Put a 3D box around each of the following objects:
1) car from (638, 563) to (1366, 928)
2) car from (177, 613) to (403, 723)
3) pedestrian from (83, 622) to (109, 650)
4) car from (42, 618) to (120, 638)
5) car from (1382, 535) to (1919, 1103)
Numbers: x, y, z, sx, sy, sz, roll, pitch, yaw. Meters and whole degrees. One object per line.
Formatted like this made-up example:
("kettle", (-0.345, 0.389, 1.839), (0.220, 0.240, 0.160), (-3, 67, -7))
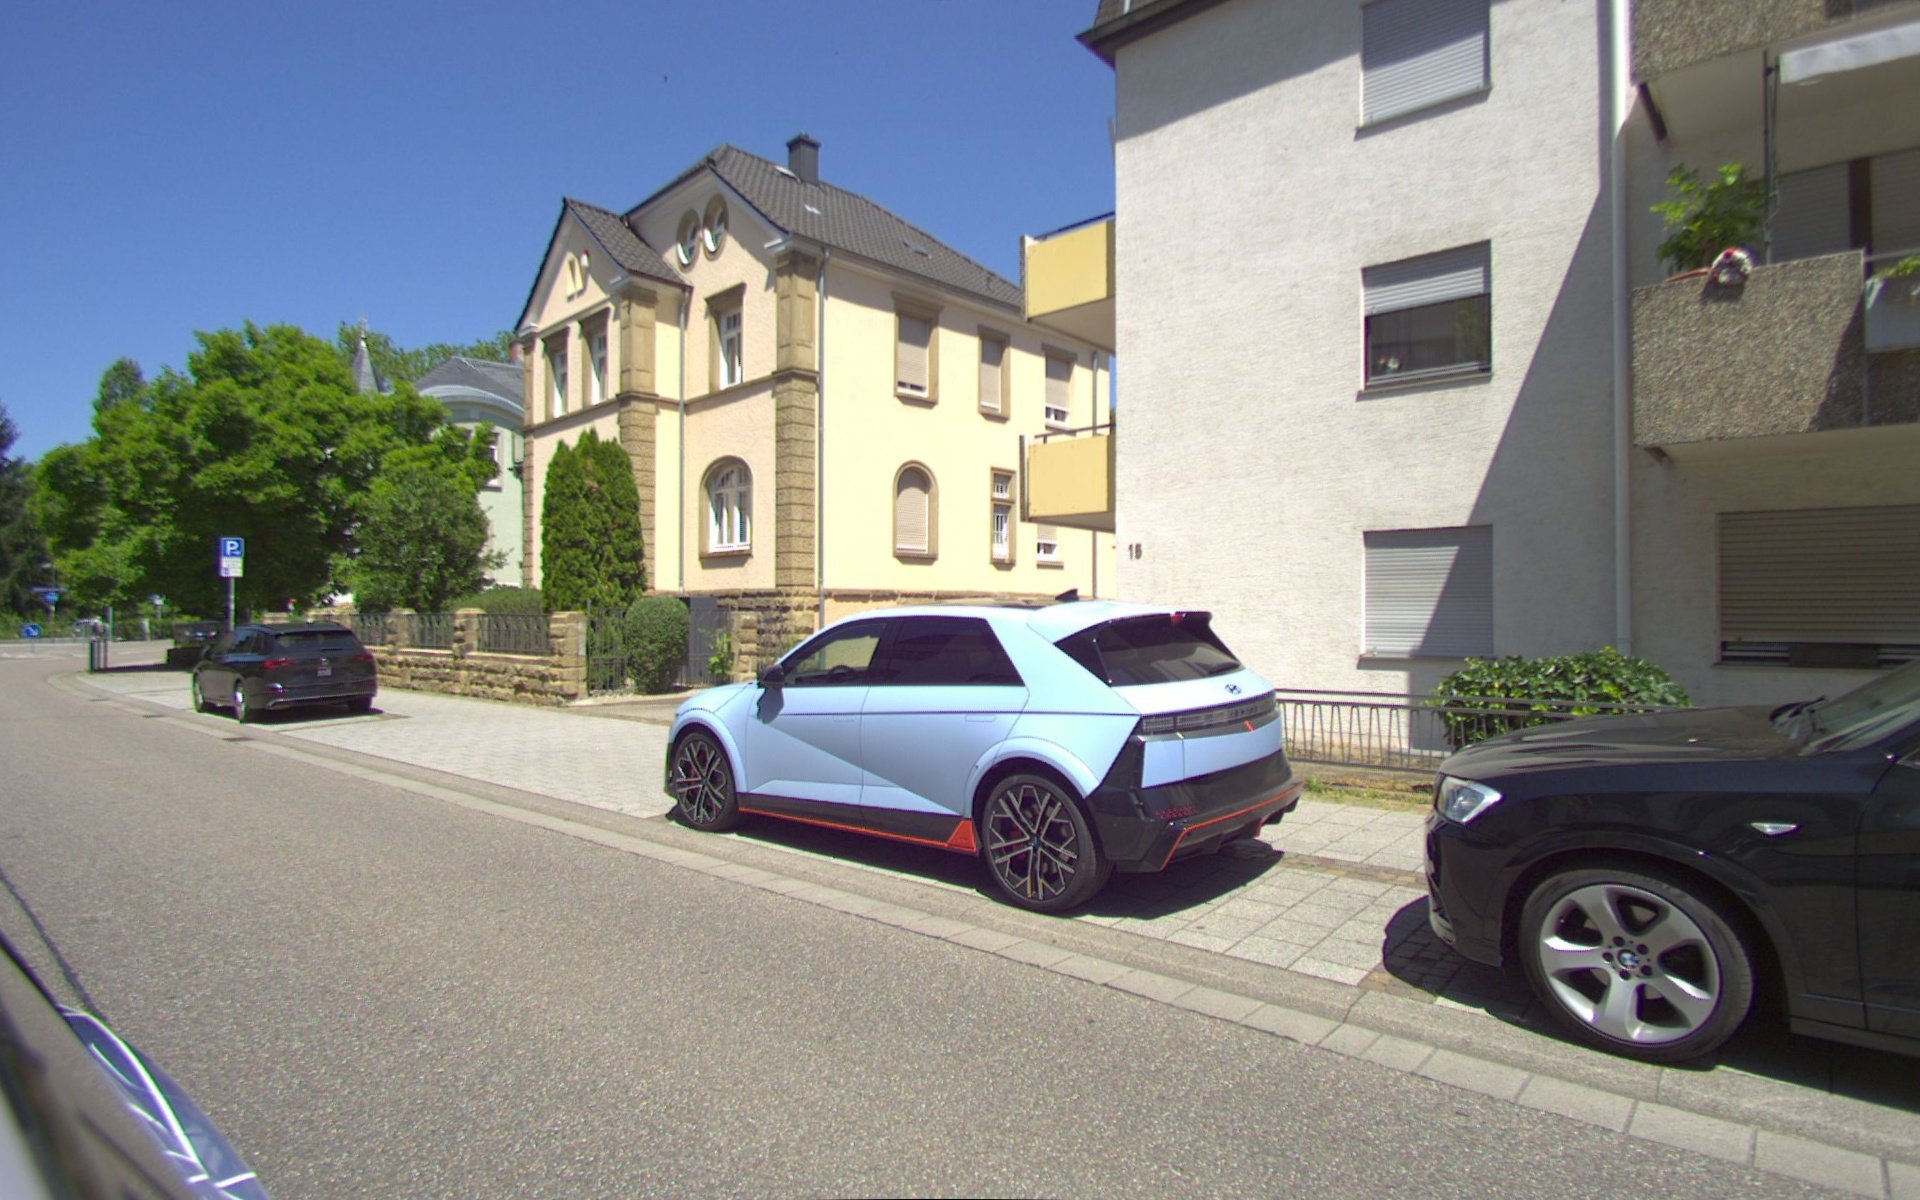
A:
("car", (-0.018, 0.650, 6.731), (4.657, 1.584, 1.906), (-1, 2, 42))
("car", (-11.005, 0.993, 16.487), (4.657, 1.447, 1.906), (-1, 2, 42))
("pedestrian", (-55.856, 2.311, 65.427), (0.902, 1.785, 0.915), (1, -1, 1))
("car", (-69.069, 2.178, 79.572), (1.769, 1.511, 4.438), (-1, -1, 41))
("car", (3.900, 0.582, 2.995), (4.569, 1.631, 1.707), (-1, 2, 42))
